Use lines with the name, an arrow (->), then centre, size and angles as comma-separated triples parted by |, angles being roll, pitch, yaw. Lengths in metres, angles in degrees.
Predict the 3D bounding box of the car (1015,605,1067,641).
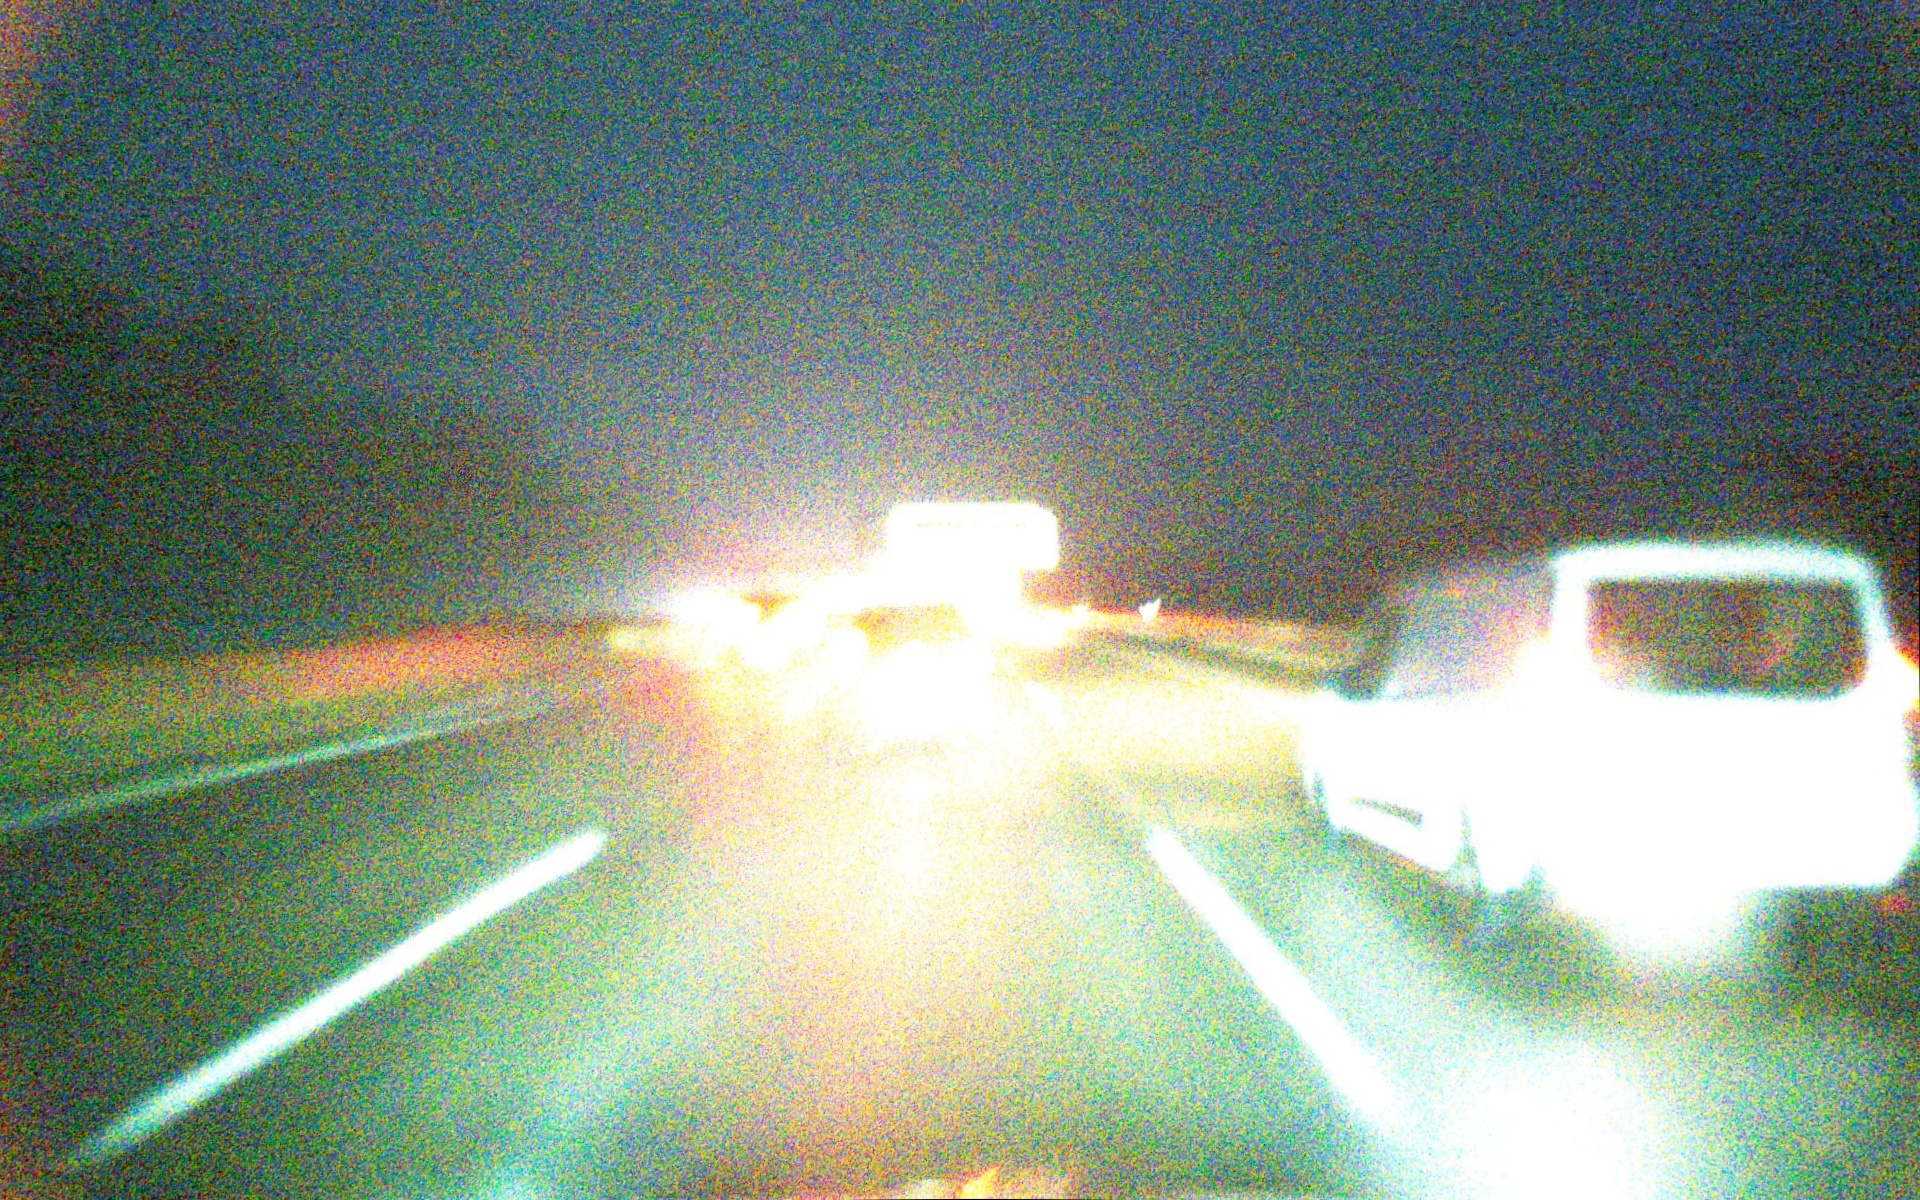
car -> 3.362, 0.944, 69.264 | 1.851, 1.378, 3.999 | 1, 0, -1

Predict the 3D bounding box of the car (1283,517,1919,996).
car -> 3.196, 0.621, 8.913 | 1.913, 1.823, 5.124 | 1, 0, 0

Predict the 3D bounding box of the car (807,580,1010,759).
car -> -0.506, 0.682, 17.821 | 1.877, 1.622, 4.232 | -2, -1, -1

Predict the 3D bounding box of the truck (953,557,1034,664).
truck -> 1.815, 0.639, 96.567 | 4.083, 5.641, 13.071 | -2, -1, -1

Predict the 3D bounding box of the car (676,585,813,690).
car -> -4.090, 0.700, 32.155 | 1.953, 1.808, 4.886 | -2, -1, 0
